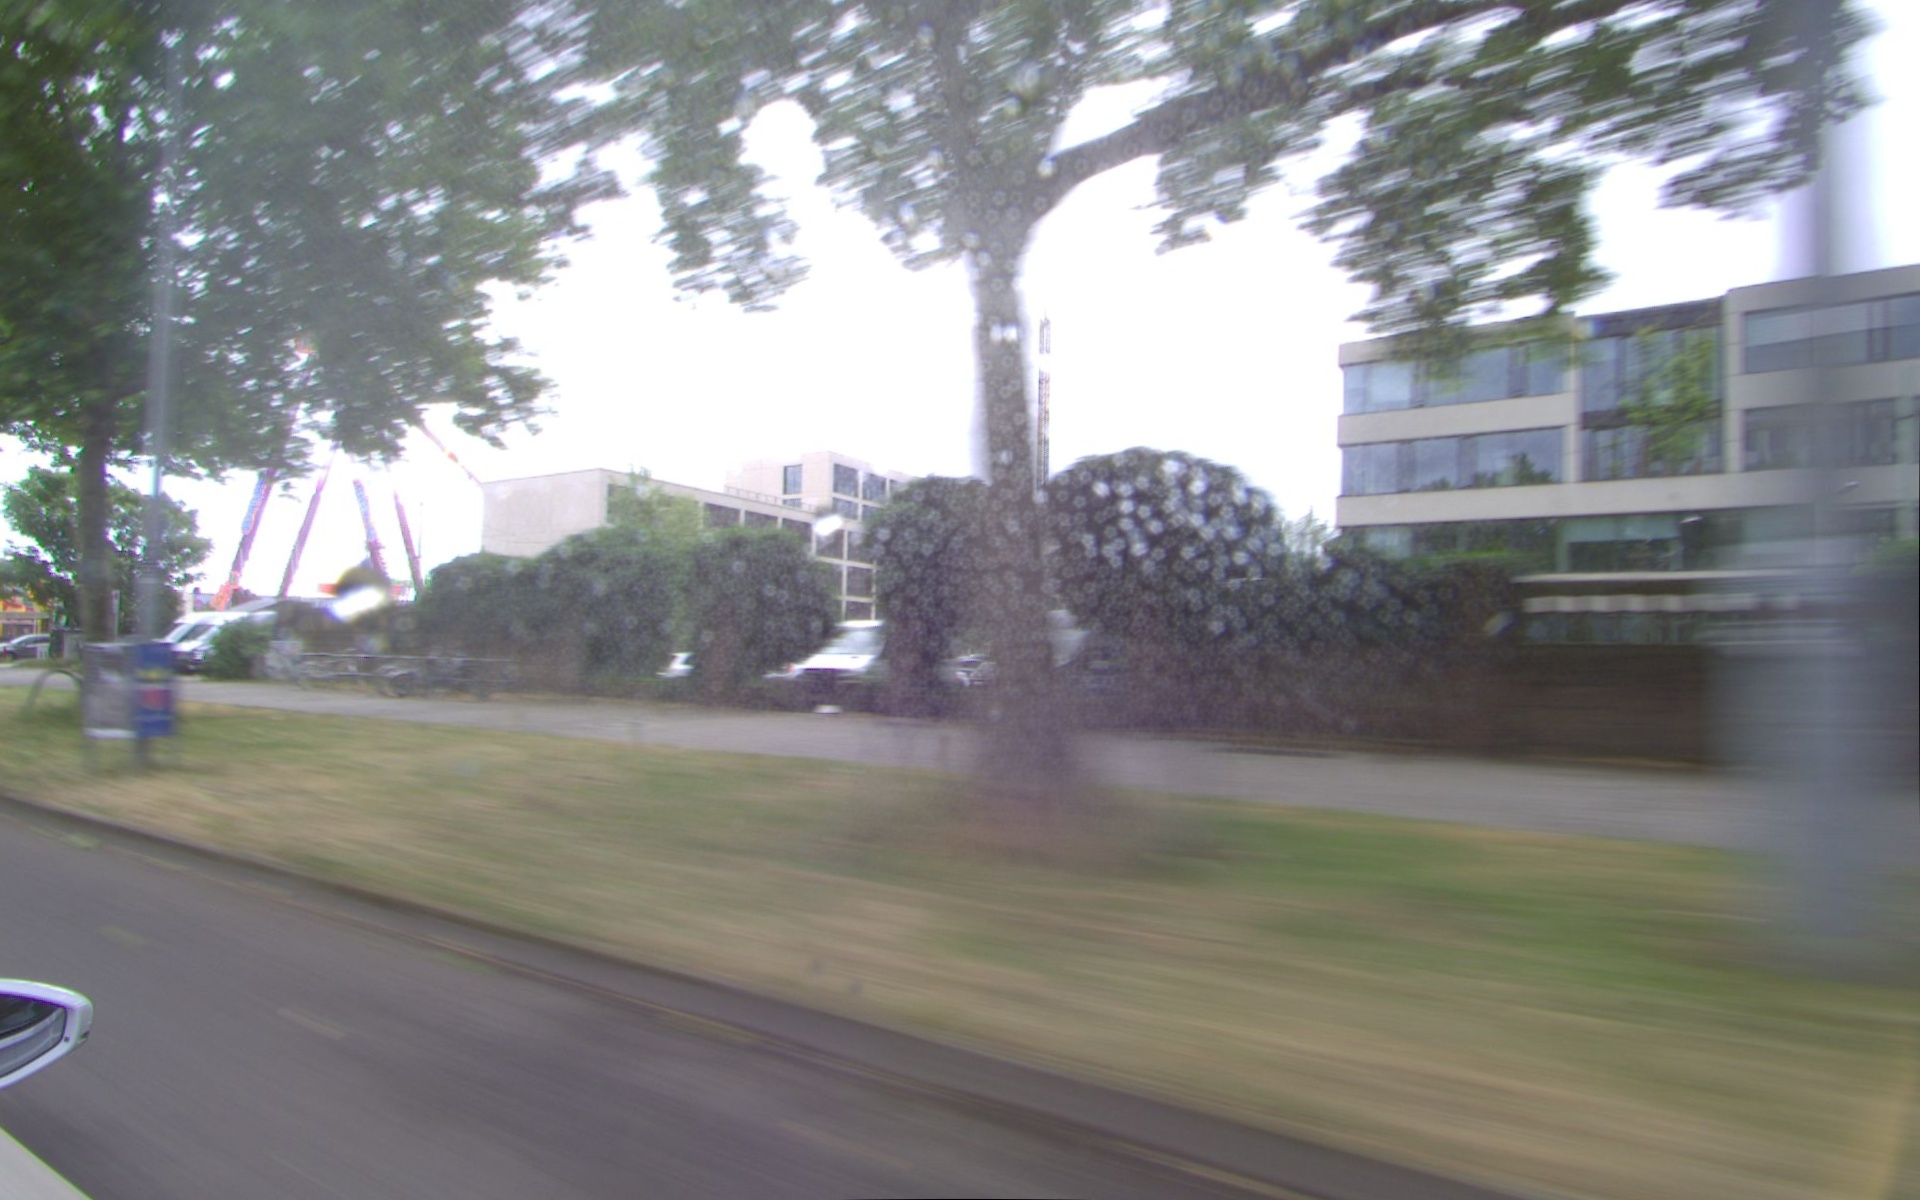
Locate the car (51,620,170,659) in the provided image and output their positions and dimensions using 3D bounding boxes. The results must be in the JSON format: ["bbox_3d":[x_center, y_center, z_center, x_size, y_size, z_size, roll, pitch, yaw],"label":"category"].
[{"bbox_3d":[-46.510,2.162,54.949,1.970,2.039,4.569,1,-2,30],"label":"car"}]

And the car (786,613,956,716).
[{"bbox_3d":[-2.076,1.658,25.155,1.641,2.291,5.096,-1,-5,29],"label":"car"}]

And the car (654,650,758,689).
[{"bbox_3d":[-9.780,2.673,38.596,3.527,1.437,1.601,3,-4,-34],"label":"car"}]

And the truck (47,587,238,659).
[{"bbox_3d":[-47.670,1.486,58.716,2.562,3.869,8.185,-1,-3,30],"label":"truck"}]

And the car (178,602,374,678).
[{"bbox_3d":[-26.365,1.631,38.859,2.141,2.552,5.779,0,-5,34],"label":"car"}]

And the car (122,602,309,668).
[{"bbox_3d":[-31.557,1.574,42.712,2.069,2.587,6.019,-1,-4,30],"label":"car"}]

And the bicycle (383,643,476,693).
[{"bbox_3d":[-12.240,1.549,23.154,0.542,1.111,1.898,0,-2,30],"label":"bicycle"}]

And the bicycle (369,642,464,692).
[{"bbox_3d":[-12.739,1.555,23.543,0.541,1.108,1.972,0,-2,30],"label":"bicycle"}]

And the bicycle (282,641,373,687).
[{"bbox_3d":[-16.083,1.615,25.522,0.541,1.105,1.919,0,-2,30],"label":"bicycle"}]

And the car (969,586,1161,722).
[{"bbox_3d":[2.368,1.222,20.804,2.044,2.449,5.234,-1,-5,29],"label":"car"}]

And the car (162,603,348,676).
[{"bbox_3d":[-28.693,1.695,41.009,2.010,2.565,5.784,-1,-6,31],"label":"car"}]

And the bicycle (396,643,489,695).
[{"bbox_3d":[-11.769,1.544,22.826,0.541,1.119,1.888,0,-2,30],"label":"bicycle"}]

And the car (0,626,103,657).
[{"bbox_3d":[-52.104,2.384,57.024,1.971,1.595,4.570,-1,-4,31],"label":"car"}]
